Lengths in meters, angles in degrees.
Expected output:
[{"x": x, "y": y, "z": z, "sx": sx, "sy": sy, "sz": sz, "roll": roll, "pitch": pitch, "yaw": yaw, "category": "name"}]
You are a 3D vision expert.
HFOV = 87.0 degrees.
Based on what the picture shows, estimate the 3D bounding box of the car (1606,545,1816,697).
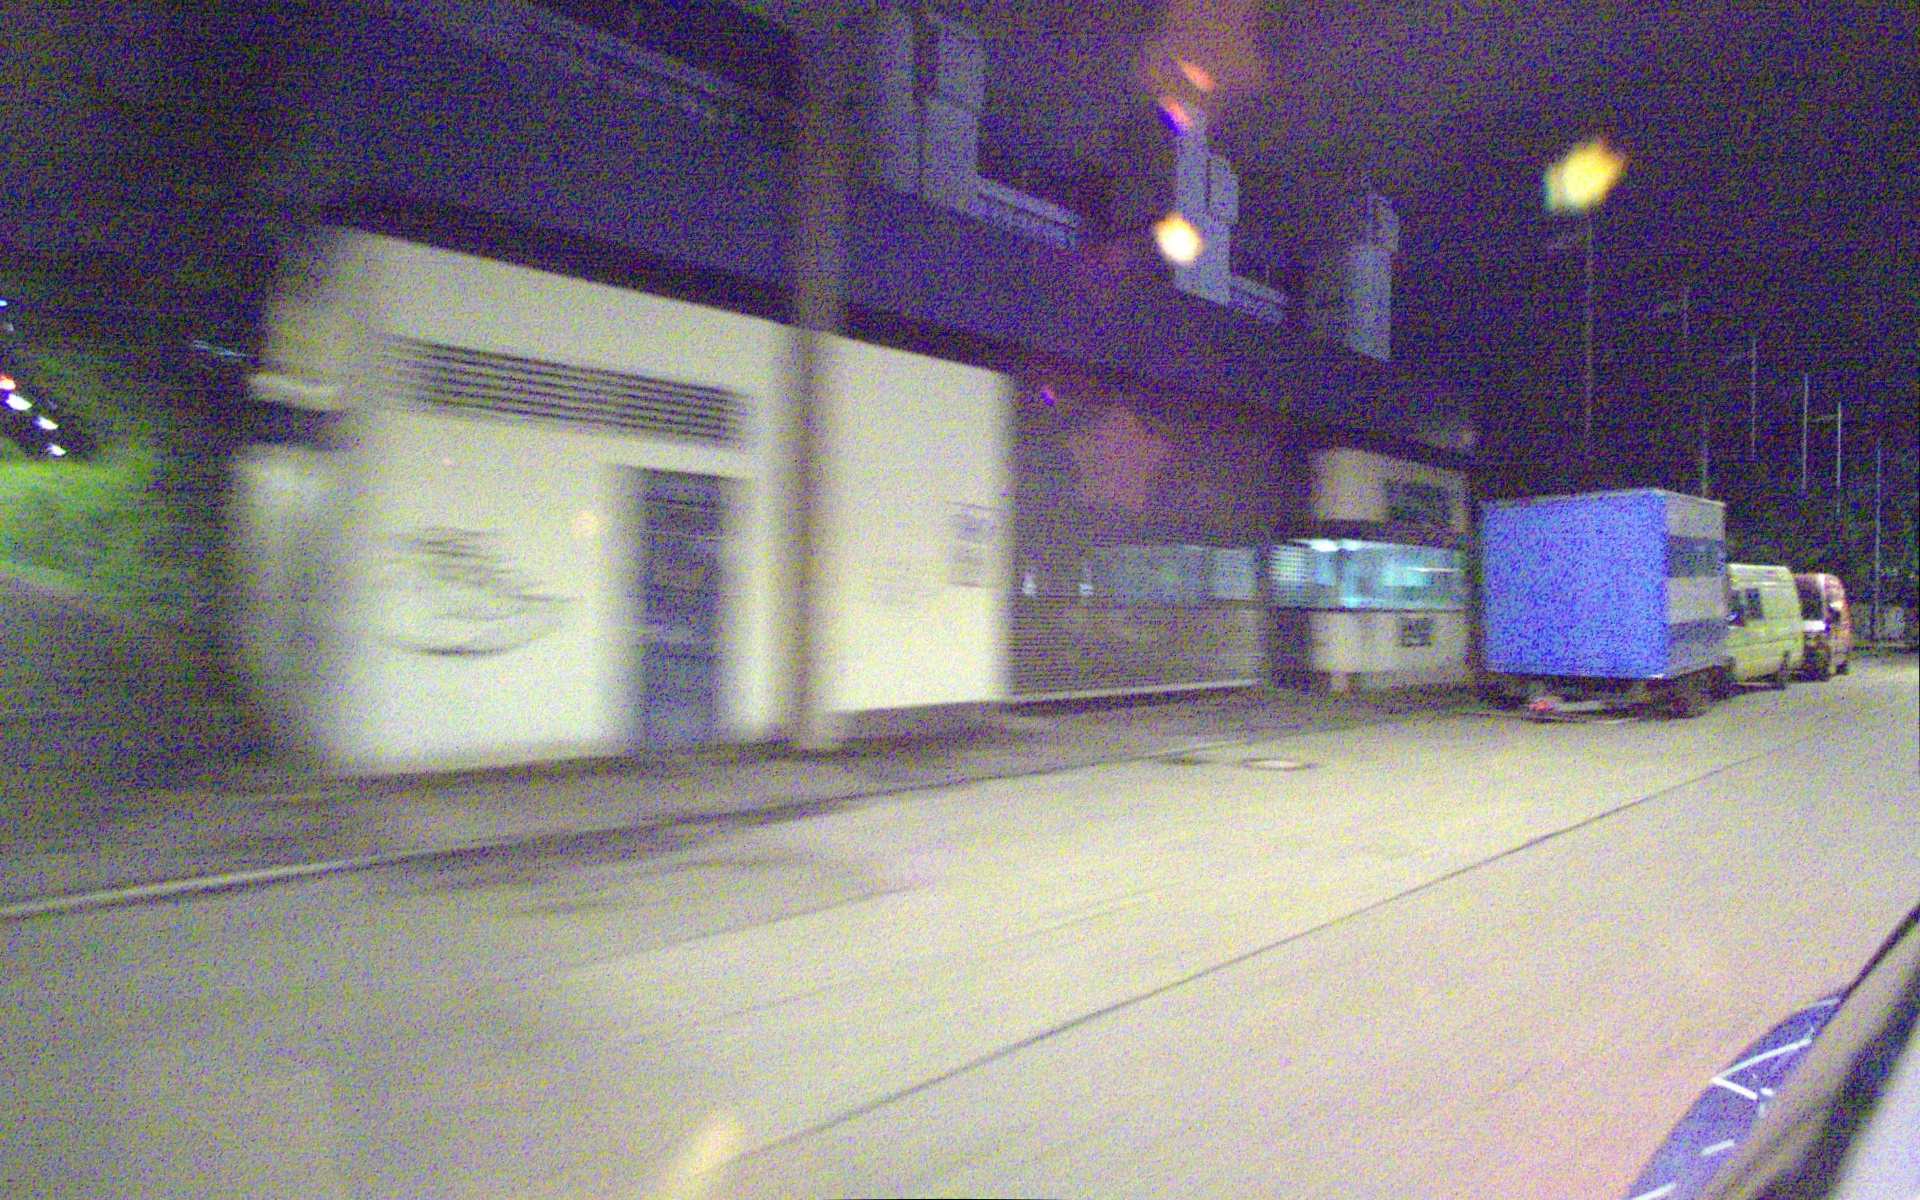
[{"x": 15.101, "y": 0.394, "z": 20.150, "sx": 6.528, "sy": 2.580, "sz": 1.944, "roll": 1, "pitch": -1, "yaw": -40, "category": "car"}]

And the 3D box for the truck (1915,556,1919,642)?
[{"x": 49.391, "y": 0.036, "z": 48.837, "sx": 12.418, "sy": 3.886, "sz": 2.517, "roll": 1, "pitch": -1, "yaw": -36, "category": "truck"}]

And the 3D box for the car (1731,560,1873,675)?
[{"x": 21.300, "y": 0.426, "z": 25.498, "sx": 5.922, "sy": 2.580, "sz": 1.996, "roll": 1, "pitch": -1, "yaw": -42, "category": "car"}]

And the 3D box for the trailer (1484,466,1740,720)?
[{"x": 10.227, "y": -0.079, "z": 15.748, "sx": 4.288, "sy": 3.368, "sz": 2.400, "roll": 1, "pitch": -1, "yaw": -43, "category": "trailer"}]
